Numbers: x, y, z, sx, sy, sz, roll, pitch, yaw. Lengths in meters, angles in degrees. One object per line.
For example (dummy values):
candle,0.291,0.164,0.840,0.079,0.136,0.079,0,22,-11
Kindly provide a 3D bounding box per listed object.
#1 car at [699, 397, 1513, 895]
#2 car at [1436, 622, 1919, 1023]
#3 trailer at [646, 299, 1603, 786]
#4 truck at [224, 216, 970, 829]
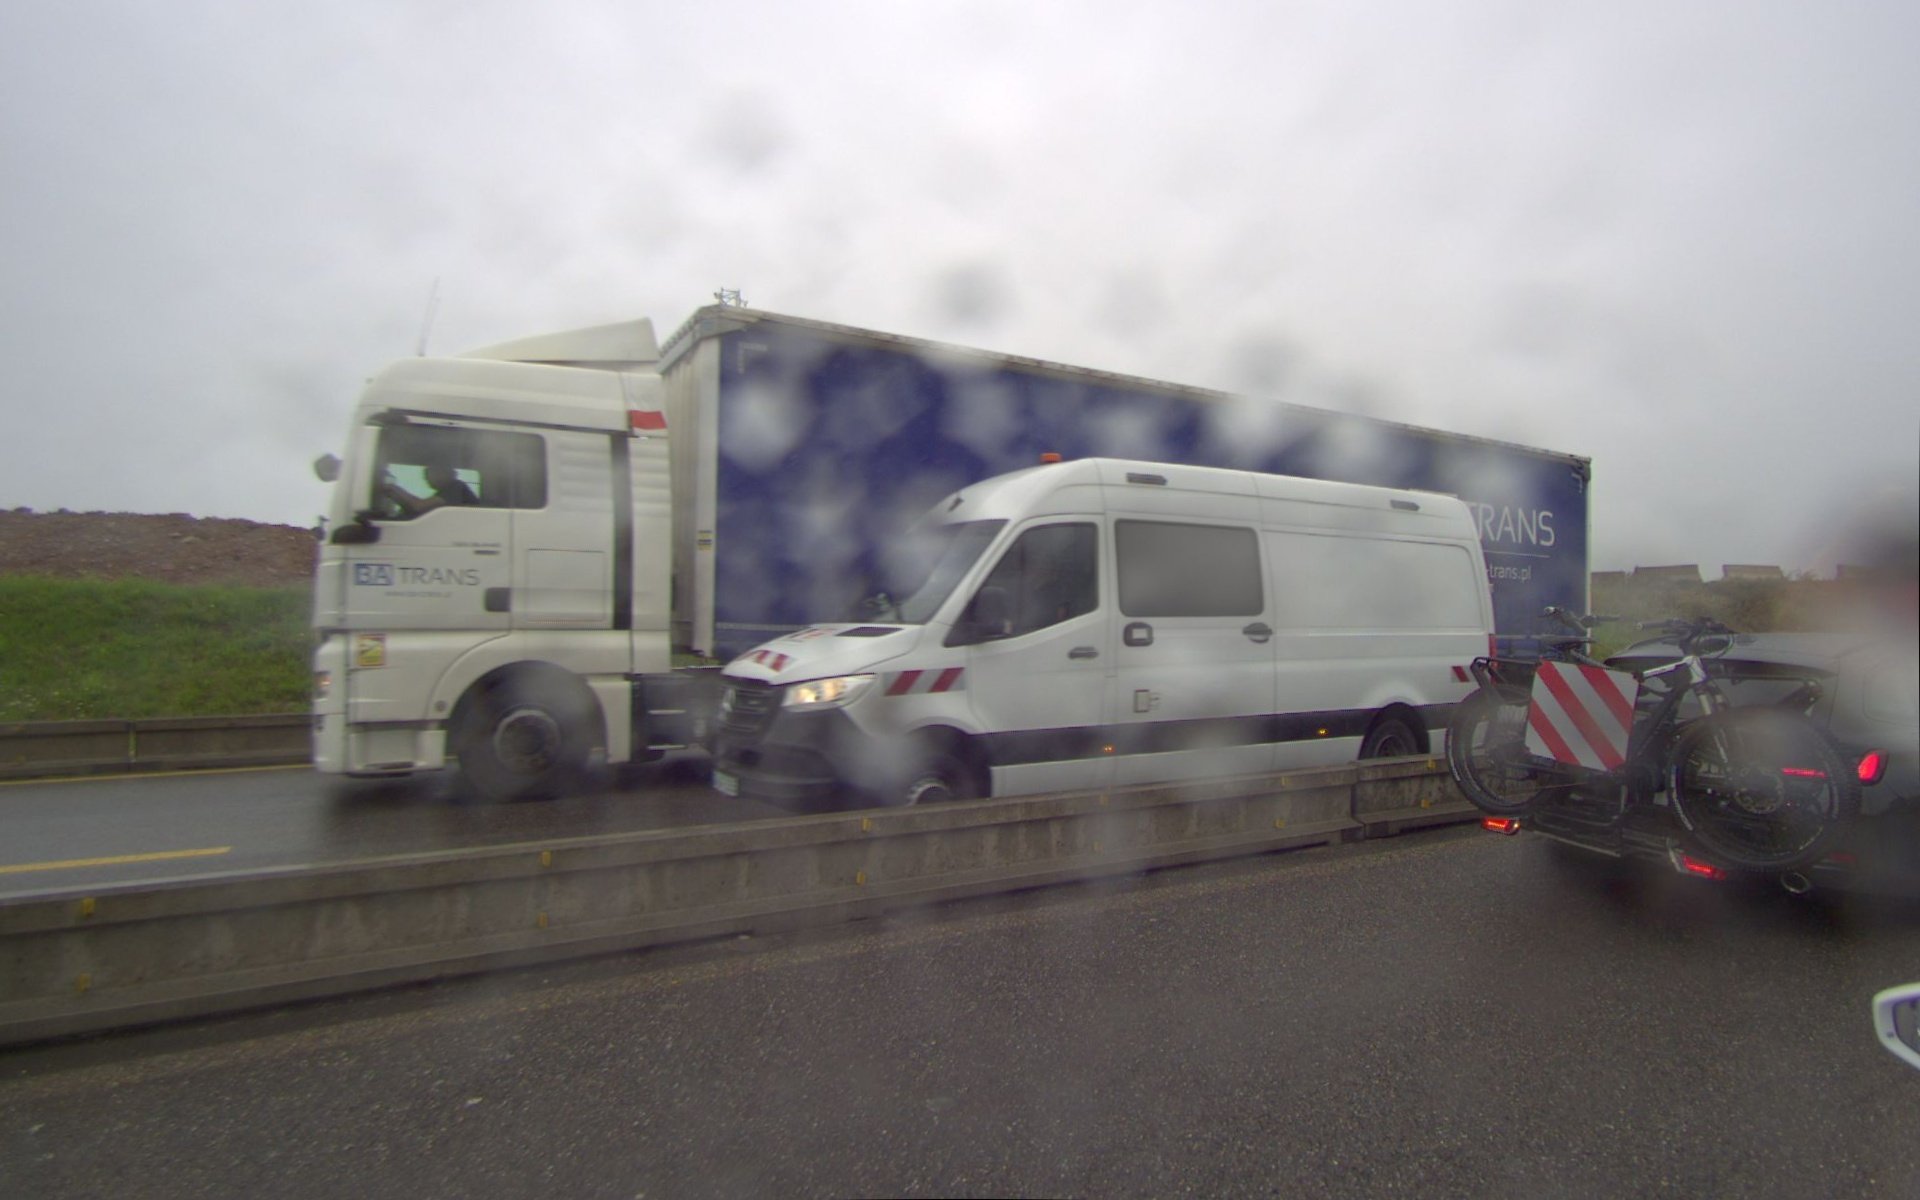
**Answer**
car,1.553,0.269,8.078,6.806,2.689,1.995,0,0,-32
car,5.451,0.935,6.153,5.561,1.482,1.727,0,0,-30
trailer,3.166,-0.436,13.026,13.576,4.089,2.766,0,0,-30
truck,-3.082,-0.498,9.356,5.750,4.089,2.775,0,0,-30
